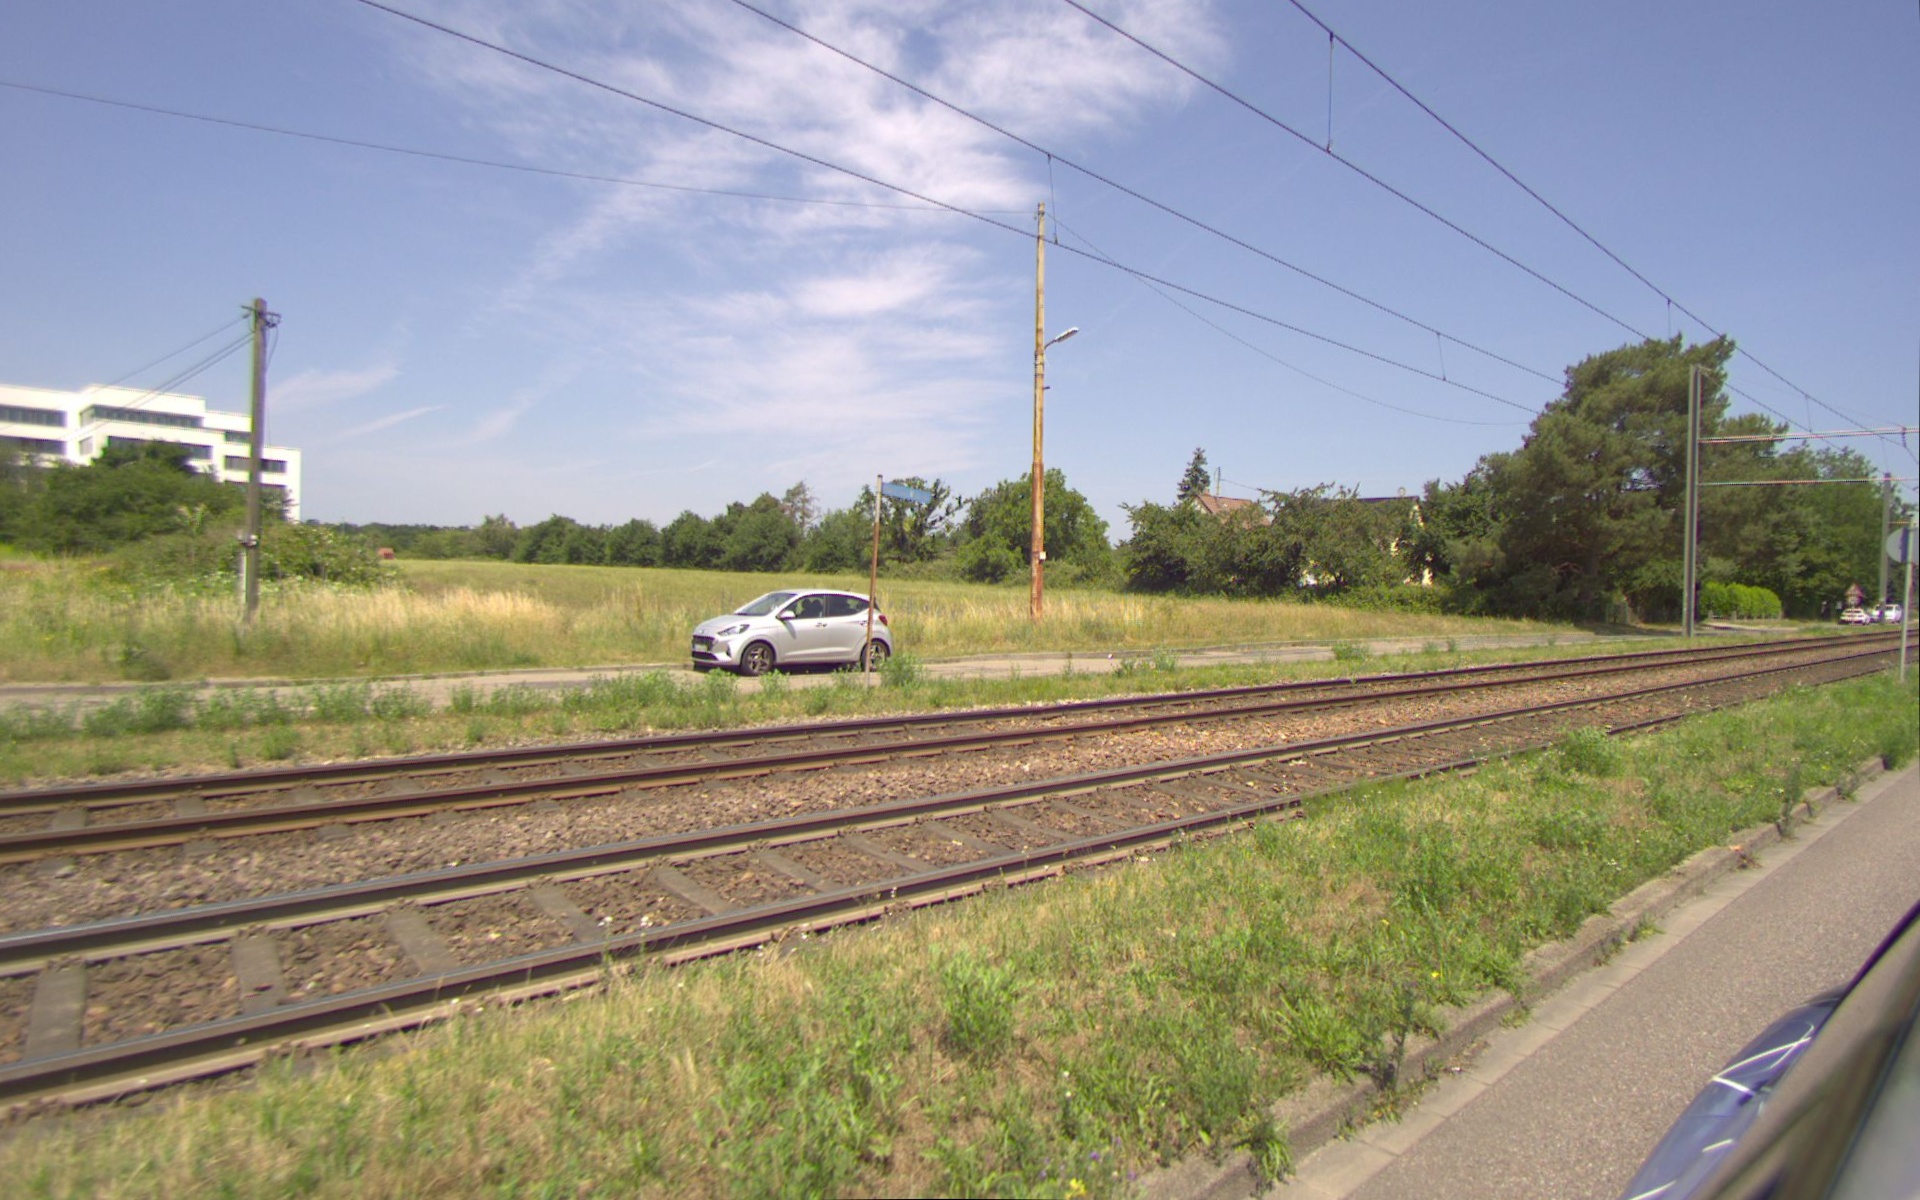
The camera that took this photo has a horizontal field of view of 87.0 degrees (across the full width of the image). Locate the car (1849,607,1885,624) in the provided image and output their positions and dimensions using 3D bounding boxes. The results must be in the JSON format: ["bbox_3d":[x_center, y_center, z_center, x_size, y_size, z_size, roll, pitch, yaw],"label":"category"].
[{"bbox_3d":[81.686,1.375,91.123,3.929,1.401,1.922,0,1,-40],"label":"car"}]

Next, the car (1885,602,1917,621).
[{"bbox_3d":[96.382,1.195,103.663,4.506,1.849,1.862,0,0,-40],"label":"car"}]

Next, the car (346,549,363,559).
[{"bbox_3d":[-113.117,-8.595,189.100,1.735,1.841,4.207,0,0,-44],"label":"car"}]

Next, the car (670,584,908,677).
[{"bbox_3d":[-3.026,0.486,18.320,3.929,1.507,1.716,0,0,-39],"label":"car"}]

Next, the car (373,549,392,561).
[{"bbox_3d":[-100.739,-7.911,176.593,1.834,1.940,4.675,0,0,-43],"label":"car"}]
